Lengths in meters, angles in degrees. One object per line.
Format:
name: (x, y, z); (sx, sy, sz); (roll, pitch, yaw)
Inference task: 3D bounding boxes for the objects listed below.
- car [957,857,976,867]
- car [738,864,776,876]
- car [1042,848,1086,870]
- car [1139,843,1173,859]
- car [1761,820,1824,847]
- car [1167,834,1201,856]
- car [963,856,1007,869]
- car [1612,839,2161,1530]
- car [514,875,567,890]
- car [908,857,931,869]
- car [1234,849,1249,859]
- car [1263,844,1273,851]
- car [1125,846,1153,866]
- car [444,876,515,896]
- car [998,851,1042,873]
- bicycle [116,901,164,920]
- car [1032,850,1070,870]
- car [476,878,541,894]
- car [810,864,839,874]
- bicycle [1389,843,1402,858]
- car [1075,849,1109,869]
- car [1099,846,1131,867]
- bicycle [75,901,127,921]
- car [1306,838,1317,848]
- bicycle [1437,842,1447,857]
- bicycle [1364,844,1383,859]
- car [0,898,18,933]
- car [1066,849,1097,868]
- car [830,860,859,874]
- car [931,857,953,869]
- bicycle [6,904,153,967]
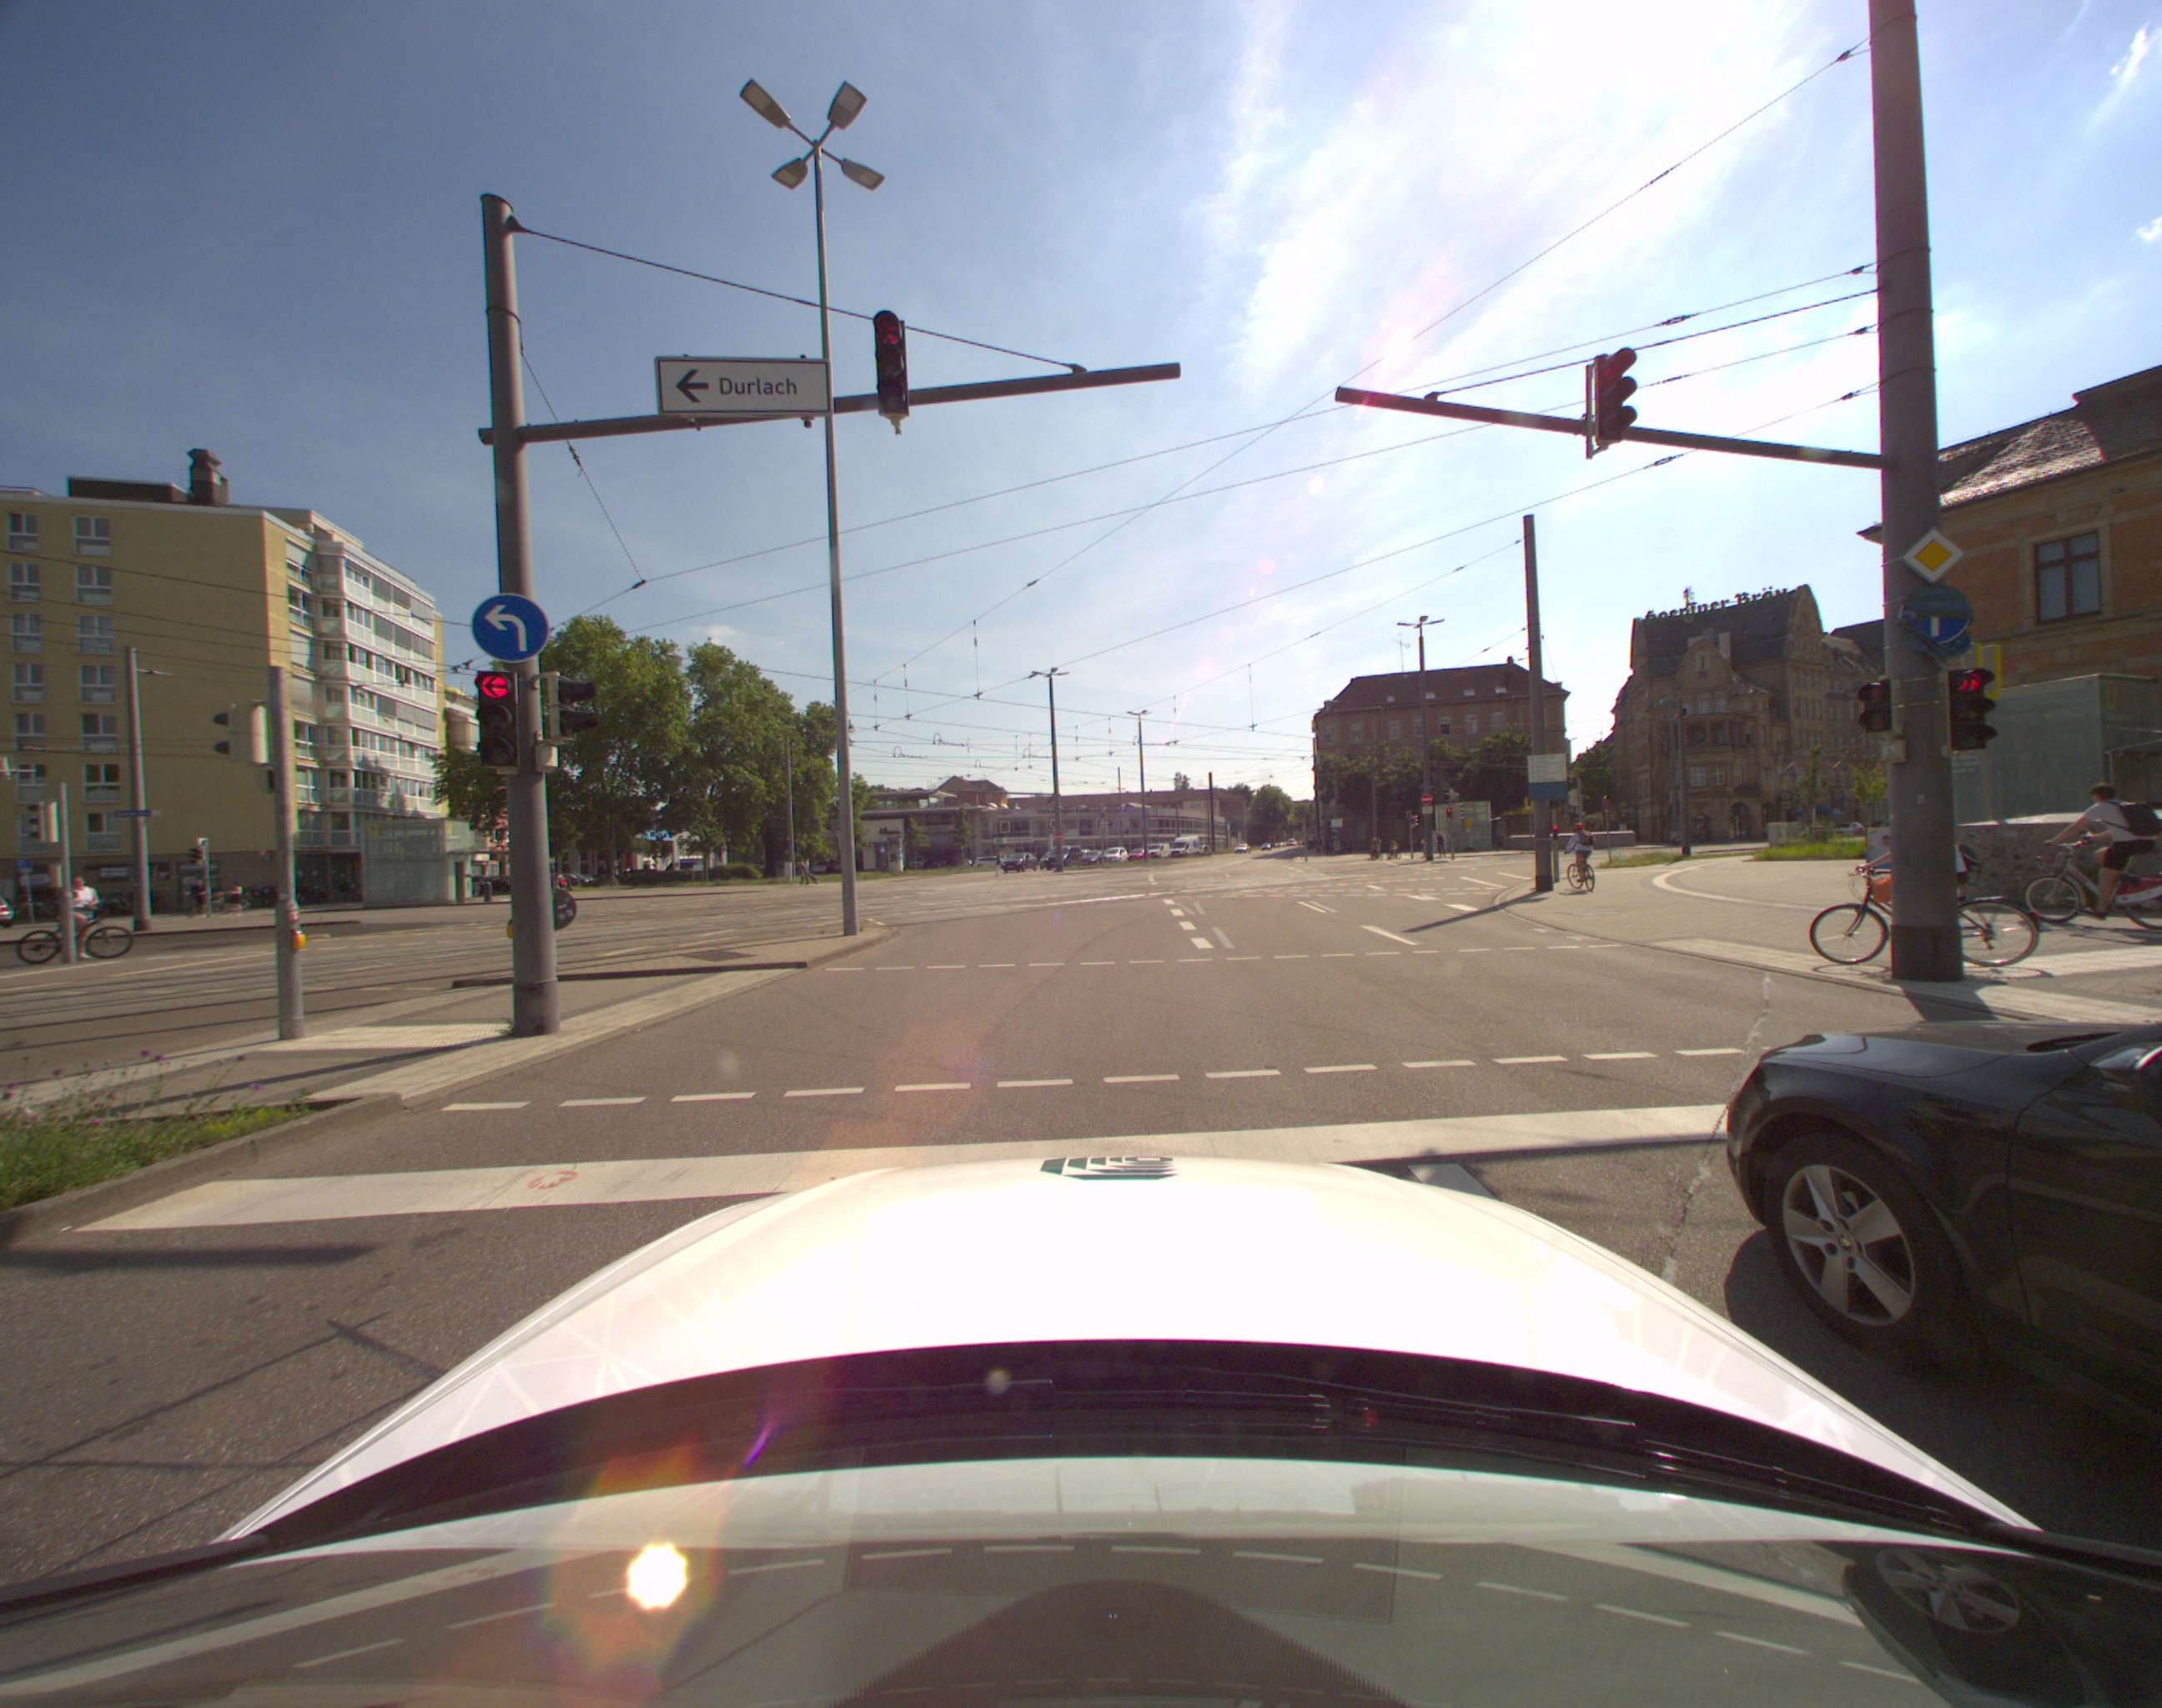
car: (-14.106, 0.957, 100.503); (1.824, 1.195, 4.000); (0, 0, 1)
car: (-40.983, 2.024, 102.947); (3.973, 1.371, 2.000); (0, 0, 1)
car: (-1.293, 0.384, 64.795); (1.945, 1.587, 4.739); (-2, 0, 19)
car: (8.546, -0.326, 92.340); (2.165, 1.680, 5.058); (-3, 0, 24)
car: (39.126, -1.136, 44.765); (3.464, 1.313, 1.655); (-3, 0, -32)
car: (12.621, -1.028, 99.624); (2.188, 2.575, 5.910); (-1, -1, 28)
car: (-10.410, 0.919, 88.269); (4.551, 1.436, 1.450); (-1, -1, 14)
car: (3.041, 0.668, 1.039); (1.625, 1.435, 4.779); (-1, -1, 0)
car: (-49.711, 2.599, 74.982); (3.729, 1.340, 1.735); (0, -1, -15)
car: (-20.039, 1.068, 101.062); (1.987, 1.486, 4.000); (0, 0, 0)
car: (24.739, 0.018, 125.661); (1.371, 1.625, 3.359); (-1, -1, 26)
car: (36.879, -1.255, 160.685); (1.372, 1.414, 3.028); (-1, -1, 21)
car: (6.111, 0.219, 85.307); (1.879, 1.917, 4.220); (-3, -1, 19)
car: (-46.441, 2.434, 62.957); (3.994, 1.440, 1.881); (0, -1, -15)
car: (-4.765, 0.650, 64.264); (1.876, 1.588, 4.230); (-3, -1, 19)
bicycle: (-51.991, 3.114, 45.010); (1.750, 0.916, 0.582); (-3, 1, -8)
car: (-2.580, 0.520, 71.029); (1.879, 1.588, 4.019); (-3, -1, 19)
car: (-47.313, 2.647, 67.382); (3.994, 1.270, 1.735); (0, -1, -15)
car: (-31.999, 1.855, 101.785); (1.983, 1.244, 4.008); (0, 0, 7)
bicycle: (23.618, -0.286, 61.154); (0.918, 1.069, 2.856); (-1, 1, 21)
car: (0.988, 0.455, 71.294); (1.880, 1.588, 4.017); (-3, -1, 16)
car: (3.271, 0.277, 78.539); (1.879, 1.917, 4.220); (-3, -1, 19)
bicycle: (-53.567, 3.122, 44.518); (1.754, 0.916, 0.581); (-3, 1, -15)
car: (46.635, -2.235, 164.524); (2.092, 2.013, 4.017); (-2, 0, 16)
bicycle: (26.939, -0.325, 60.734); (0.661, 1.069, 2.478); (-1, 1, 24)
bicycle: (22.011, -0.194, 61.288); (0.920, 1.069, 2.755); (-1, -1, 12)
car: (-49.273, 2.831, 36.500); (3.948, 1.440, 1.825); (-5, -2, 35)
car: (0.075, 0.445, 78.293); (1.638, 1.739, 4.220); (-3, -1, 19)
car: (-29.638, 1.621, 102.126); (1.983, 1.684, 4.008); (0, -1, 7)
car: (-17.267, 1.103, 100.966); (1.987, 1.486, 4.000); (0, 0, 0)
bicycle: (-20.921, 1.687, 17.052); (1.843, 1.083, 0.749); (-4, 0, -9)
